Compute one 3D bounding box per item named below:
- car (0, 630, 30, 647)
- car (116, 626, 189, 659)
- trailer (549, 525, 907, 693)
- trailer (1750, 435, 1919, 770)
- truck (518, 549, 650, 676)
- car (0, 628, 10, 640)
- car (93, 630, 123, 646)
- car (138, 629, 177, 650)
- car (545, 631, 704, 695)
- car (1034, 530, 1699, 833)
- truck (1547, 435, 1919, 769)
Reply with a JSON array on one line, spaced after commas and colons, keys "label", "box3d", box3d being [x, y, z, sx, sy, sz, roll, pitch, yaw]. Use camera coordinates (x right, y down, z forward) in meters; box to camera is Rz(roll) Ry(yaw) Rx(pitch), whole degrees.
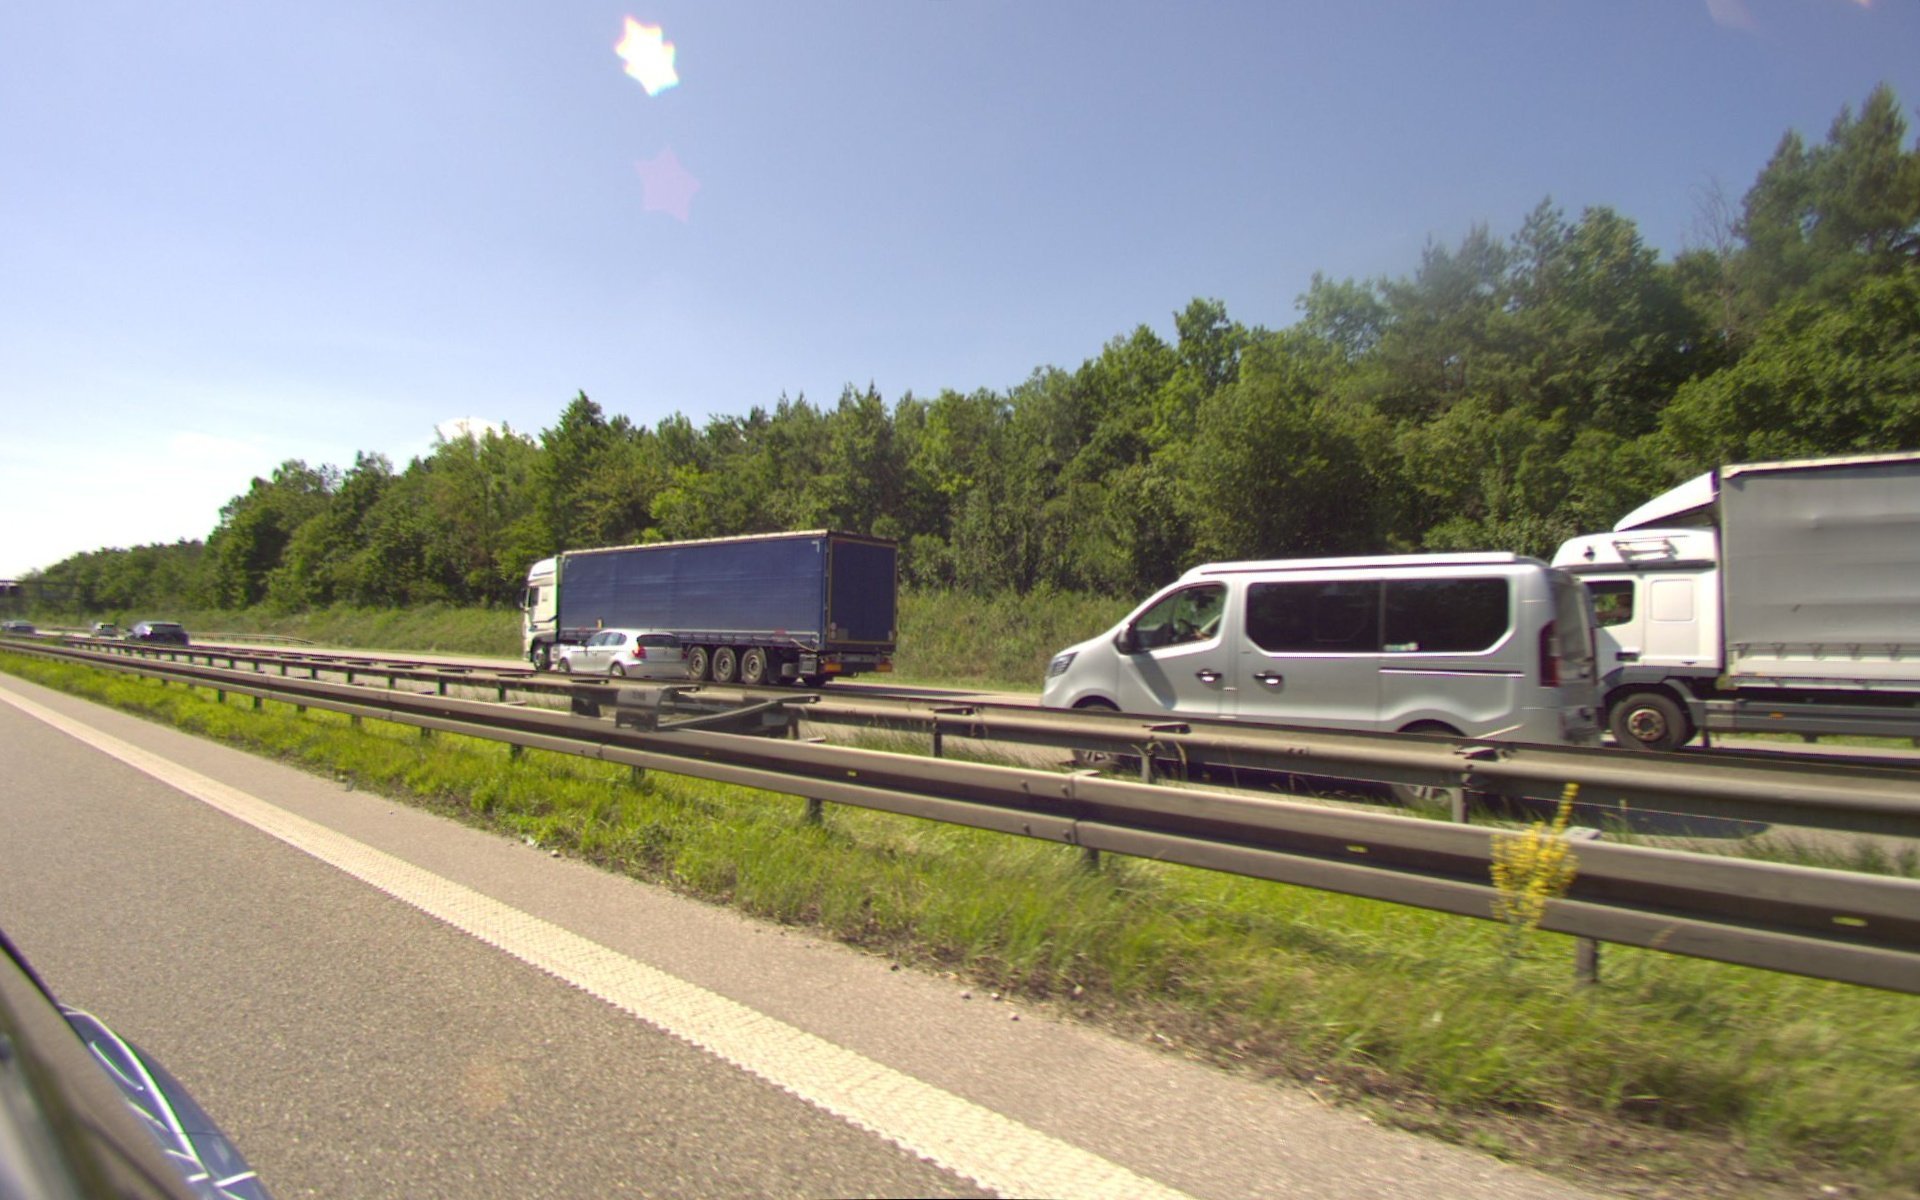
[{"label": "car", "box3d": [-80.195, 3.263, 85.831, 4.416, 1.366, 1.470, -1, -3, 42]}, {"label": "car", "box3d": [-36.708, 1.903, 45.964, 4.817, 1.416, 1.788, -1, -3, 42]}, {"label": "trailer", "box3d": [-7.577, 0.407, 30.267, 14.162, 4.089, 2.587, -1, -4, 42]}, {"label": "trailer", "box3d": [13.618, 0.046, 11.056, 7.689, 3.838, 2.684, -1, -4, 41]}, {"label": "truck", "box3d": [-13.047, 0.507, 35.087, 3.998, 4.089, 2.587, -1, -4, 41]}, {"label": "car", "box3d": [-126.045, 4.441, 132.656, 4.429, 1.580, 1.737, -2, -4, 42]}, {"label": "car", "box3d": [-87.256, 3.908, 103.655, 4.940, 1.504, 1.610, -2, -4, 42]}, {"label": "car", "box3d": [-63.476, 3.133, 80.075, 4.367, 1.580, 1.578, -1, -4, 41]}, {"label": "car", "box3d": [-8.387, 1.495, 25.103, 4.502, 1.429, 1.695, -1, -3, 41]}, {"label": "car", "box3d": [3.341, 0.637, 9.146, 5.232, 1.996, 1.907, -1, -5, 41]}, {"label": "truck", "box3d": [10.560, 0.112, 13.766, 3.998, 3.838, 2.674, -1, -4, 41]}]
